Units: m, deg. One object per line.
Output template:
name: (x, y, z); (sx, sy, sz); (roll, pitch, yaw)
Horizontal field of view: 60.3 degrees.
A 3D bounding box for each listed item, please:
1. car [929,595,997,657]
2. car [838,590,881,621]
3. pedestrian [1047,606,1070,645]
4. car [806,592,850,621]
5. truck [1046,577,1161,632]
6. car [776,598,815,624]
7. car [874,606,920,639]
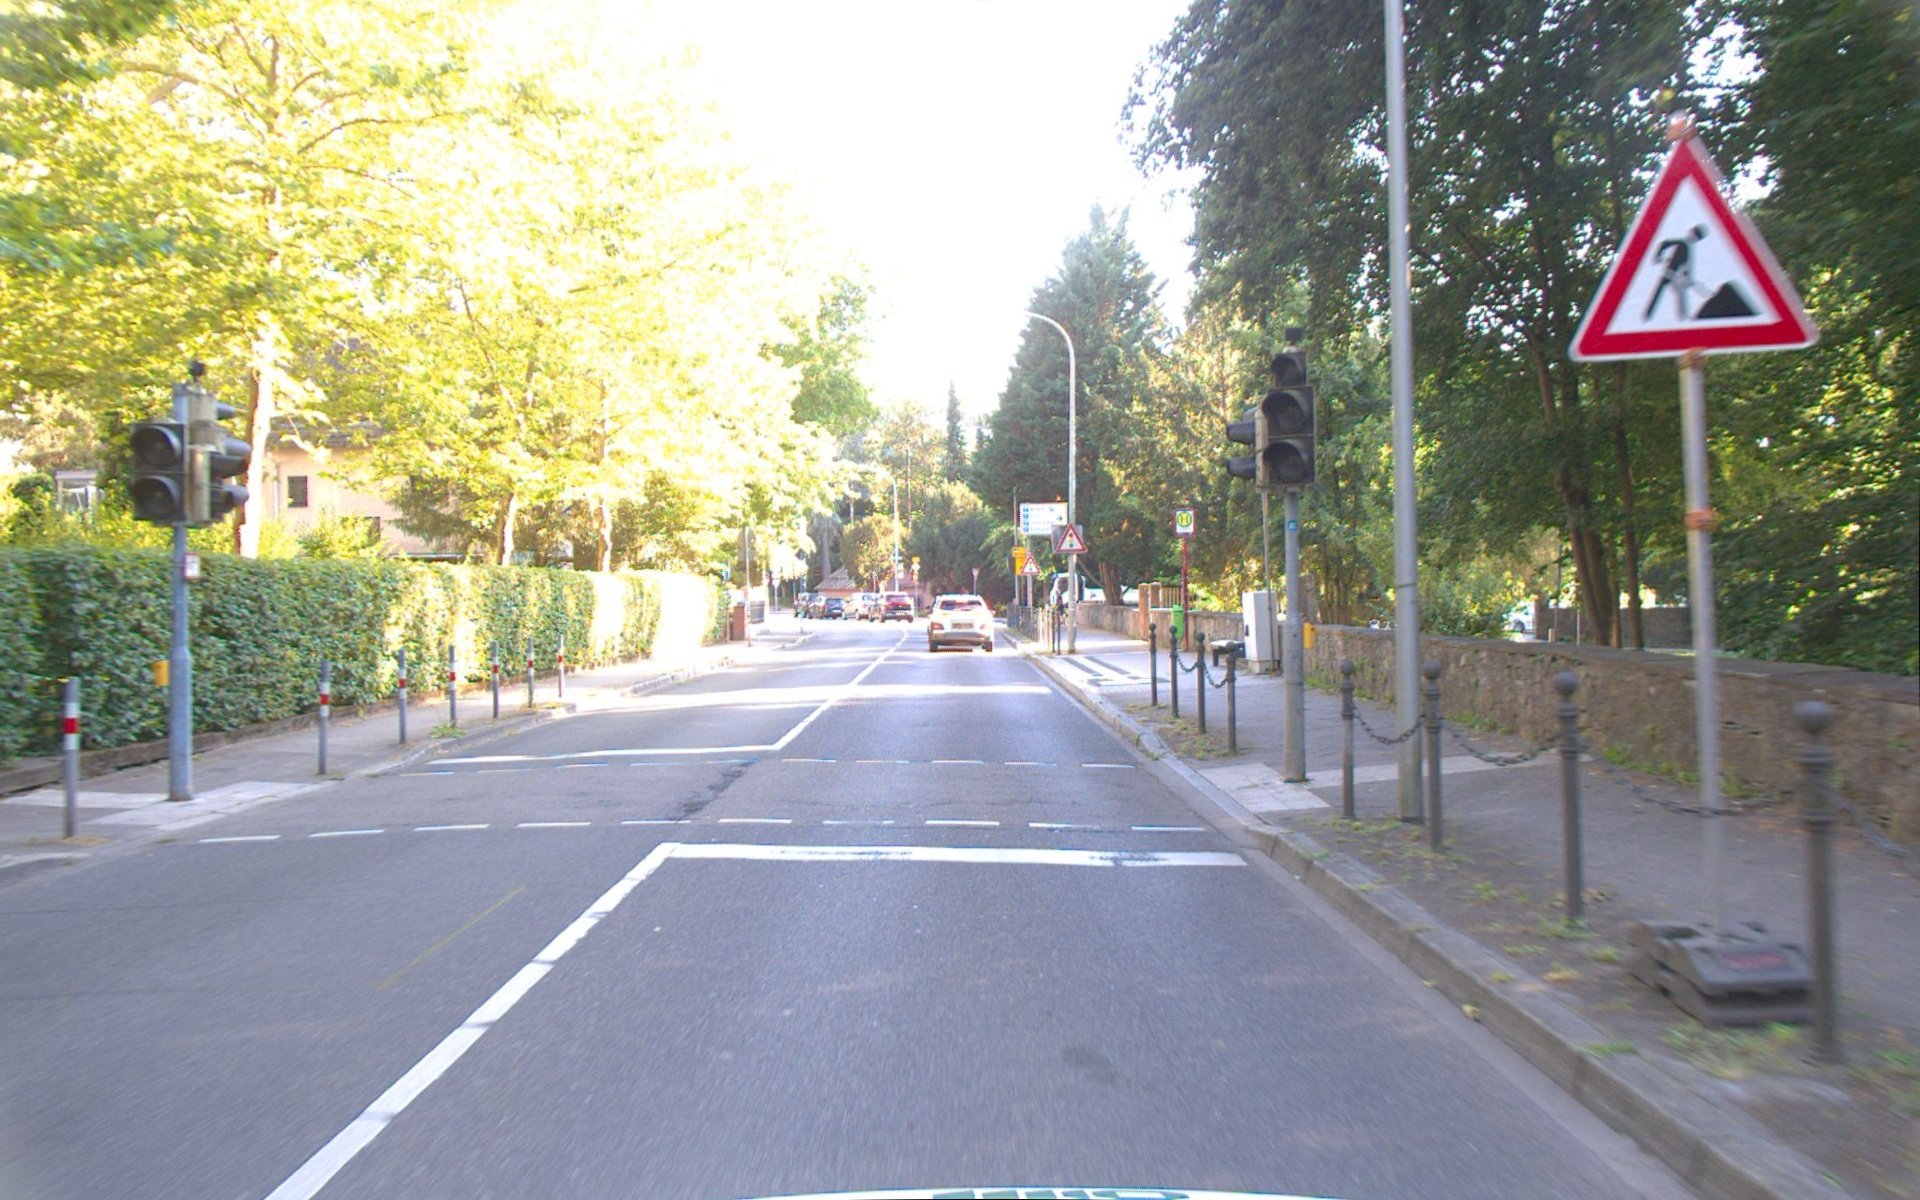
car: (0.045, 0.715, 47.264); (1.783, 1.601, 3.999); (3, 0, -1)
car: (-5.911, 0.308, 96.724); (1.800, 1.771, 3.986); (1, 0, -14)
pedestrian: (4.799, 1.261, 80.618); (0.934, 1.858, 0.547); (1, 1, -39)
car: (-8.229, 0.382, 102.578); (1.803, 1.691, 3.980); (2, 0, -18)
truck: (8.187, 0.252, 94.468); (6.448, 2.945, 2.434); (1, 0, 4)
car: (-11.268, 0.713, 112.921); (1.804, 1.691, 3.978); (1, 0, -19)
car: (-3.432, 1.209, 88.962); (1.799, 1.691, 3.988); (1, 0, -12)
